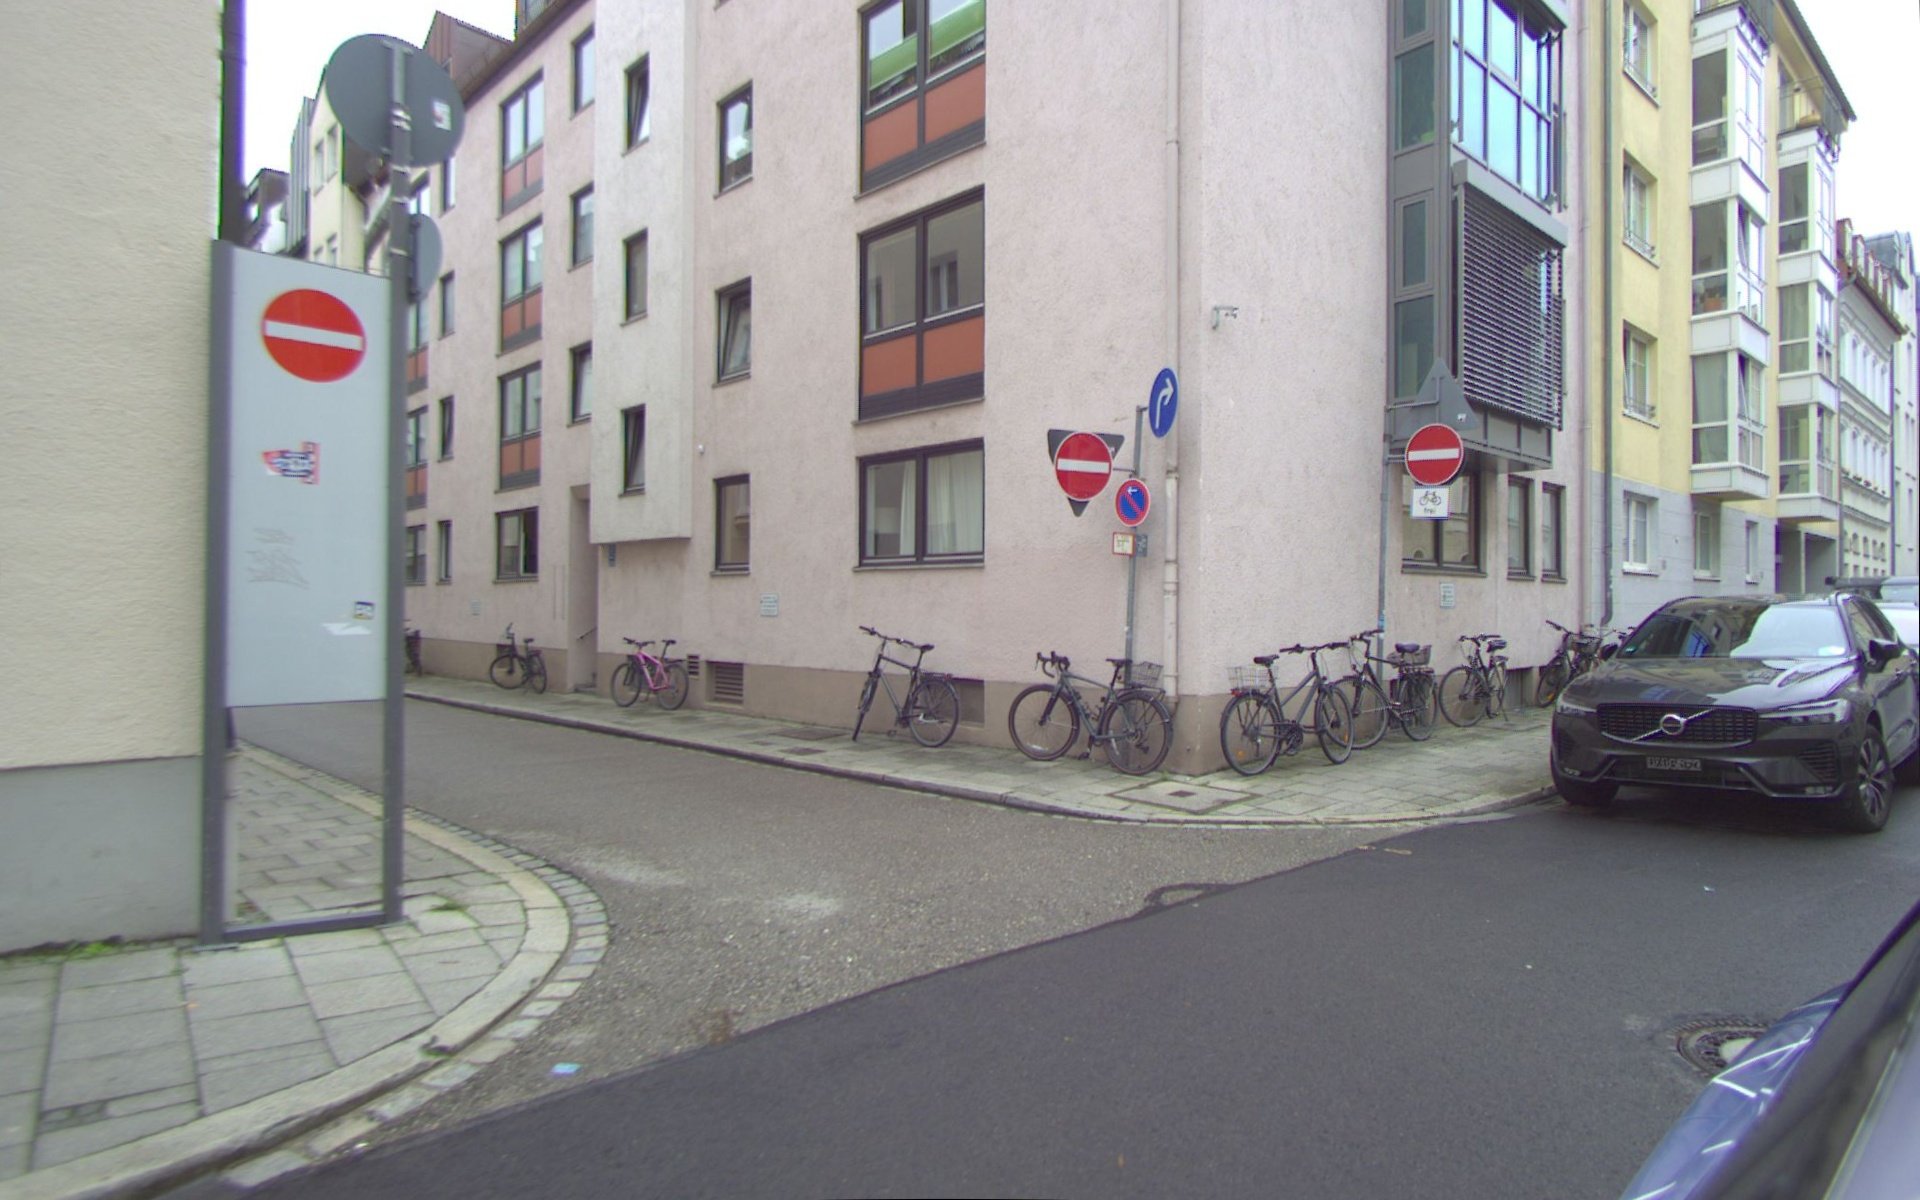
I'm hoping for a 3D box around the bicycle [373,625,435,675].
[{"bbox_3d":[-12.274,1.084,22.324,1.901,1.036,0.640,0,-1,43],"label":"bicycle"}]

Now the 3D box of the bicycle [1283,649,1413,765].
[{"bbox_3d":[3.634,0.963,9.448,1.333,0.959,0.551,0,-1,-40],"label":"bicycle"}]

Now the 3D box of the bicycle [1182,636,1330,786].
[{"bbox_3d":[2.524,0.893,8.577,1.333,1.140,0.551,1,-1,-40],"label":"bicycle"}]

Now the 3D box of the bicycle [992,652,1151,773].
[{"bbox_3d":[0.996,0.989,9.277,0.543,0.959,1.448,1,-1,-44],"label":"bicycle"}]

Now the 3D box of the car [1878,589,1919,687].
[{"bbox_3d":[18.471,0.636,18.586,4.154,1.707,1.835,0,-1,-41],"label":"car"}]

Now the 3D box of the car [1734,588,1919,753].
[{"bbox_3d":[10.769,0.707,11.898,4.249,1.642,1.835,0,-1,-41],"label":"car"}]

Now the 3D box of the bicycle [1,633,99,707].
[{"bbox_3d":[-14.460,1.096,16.071,1.703,1.101,0.452,0,-1,22],"label":"bicycle"}]

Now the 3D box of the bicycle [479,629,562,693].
[{"bbox_3d":[-7.790,1.041,17.891,1.901,1.036,0.640,0,-1,43],"label":"bicycle"}]

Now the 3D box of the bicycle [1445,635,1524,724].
[{"bbox_3d":[6.115,0.897,11.776,1.247,0.959,0.357,0,-1,-40],"label":"bicycle"}]

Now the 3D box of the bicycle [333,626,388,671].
[{"bbox_3d":[-14.568,1.160,24.567,1.901,1.036,0.640,0,-1,43],"label":"bicycle"}]

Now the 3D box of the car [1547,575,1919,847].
[{"bbox_3d":[6.611,0.675,8.248,4.334,1.642,1.835,-1,-1,-41],"label":"car"}]

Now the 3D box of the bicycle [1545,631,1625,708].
[{"bbox_3d":[8.391,0.905,13.566,1.548,0.959,0.442,0,-1,-40],"label":"bicycle"}]

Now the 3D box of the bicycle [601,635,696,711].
[{"bbox_3d":[-4.580,1.035,14.813,0.601,1.004,1.732,1,-1,-44],"label":"bicycle"}]

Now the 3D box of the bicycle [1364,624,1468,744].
[{"bbox_3d":[4.722,0.830,10.443,1.515,1.136,0.357,0,-1,-40],"label":"bicycle"}]

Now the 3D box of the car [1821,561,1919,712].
[{"bbox_3d":[14.790,0.455,15.367,5.019,2.039,1.875,-1,-1,-41],"label":"car"}]

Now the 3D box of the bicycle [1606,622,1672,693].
[{"bbox_3d":[10.072,0.832,15.003,1.420,0.988,0.422,0,-1,-40],"label":"bicycle"}]

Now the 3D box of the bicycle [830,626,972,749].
[{"bbox_3d":[-0.669,0.899,10.939,0.543,1.194,1.732,1,-1,-44],"label":"bicycle"}]
